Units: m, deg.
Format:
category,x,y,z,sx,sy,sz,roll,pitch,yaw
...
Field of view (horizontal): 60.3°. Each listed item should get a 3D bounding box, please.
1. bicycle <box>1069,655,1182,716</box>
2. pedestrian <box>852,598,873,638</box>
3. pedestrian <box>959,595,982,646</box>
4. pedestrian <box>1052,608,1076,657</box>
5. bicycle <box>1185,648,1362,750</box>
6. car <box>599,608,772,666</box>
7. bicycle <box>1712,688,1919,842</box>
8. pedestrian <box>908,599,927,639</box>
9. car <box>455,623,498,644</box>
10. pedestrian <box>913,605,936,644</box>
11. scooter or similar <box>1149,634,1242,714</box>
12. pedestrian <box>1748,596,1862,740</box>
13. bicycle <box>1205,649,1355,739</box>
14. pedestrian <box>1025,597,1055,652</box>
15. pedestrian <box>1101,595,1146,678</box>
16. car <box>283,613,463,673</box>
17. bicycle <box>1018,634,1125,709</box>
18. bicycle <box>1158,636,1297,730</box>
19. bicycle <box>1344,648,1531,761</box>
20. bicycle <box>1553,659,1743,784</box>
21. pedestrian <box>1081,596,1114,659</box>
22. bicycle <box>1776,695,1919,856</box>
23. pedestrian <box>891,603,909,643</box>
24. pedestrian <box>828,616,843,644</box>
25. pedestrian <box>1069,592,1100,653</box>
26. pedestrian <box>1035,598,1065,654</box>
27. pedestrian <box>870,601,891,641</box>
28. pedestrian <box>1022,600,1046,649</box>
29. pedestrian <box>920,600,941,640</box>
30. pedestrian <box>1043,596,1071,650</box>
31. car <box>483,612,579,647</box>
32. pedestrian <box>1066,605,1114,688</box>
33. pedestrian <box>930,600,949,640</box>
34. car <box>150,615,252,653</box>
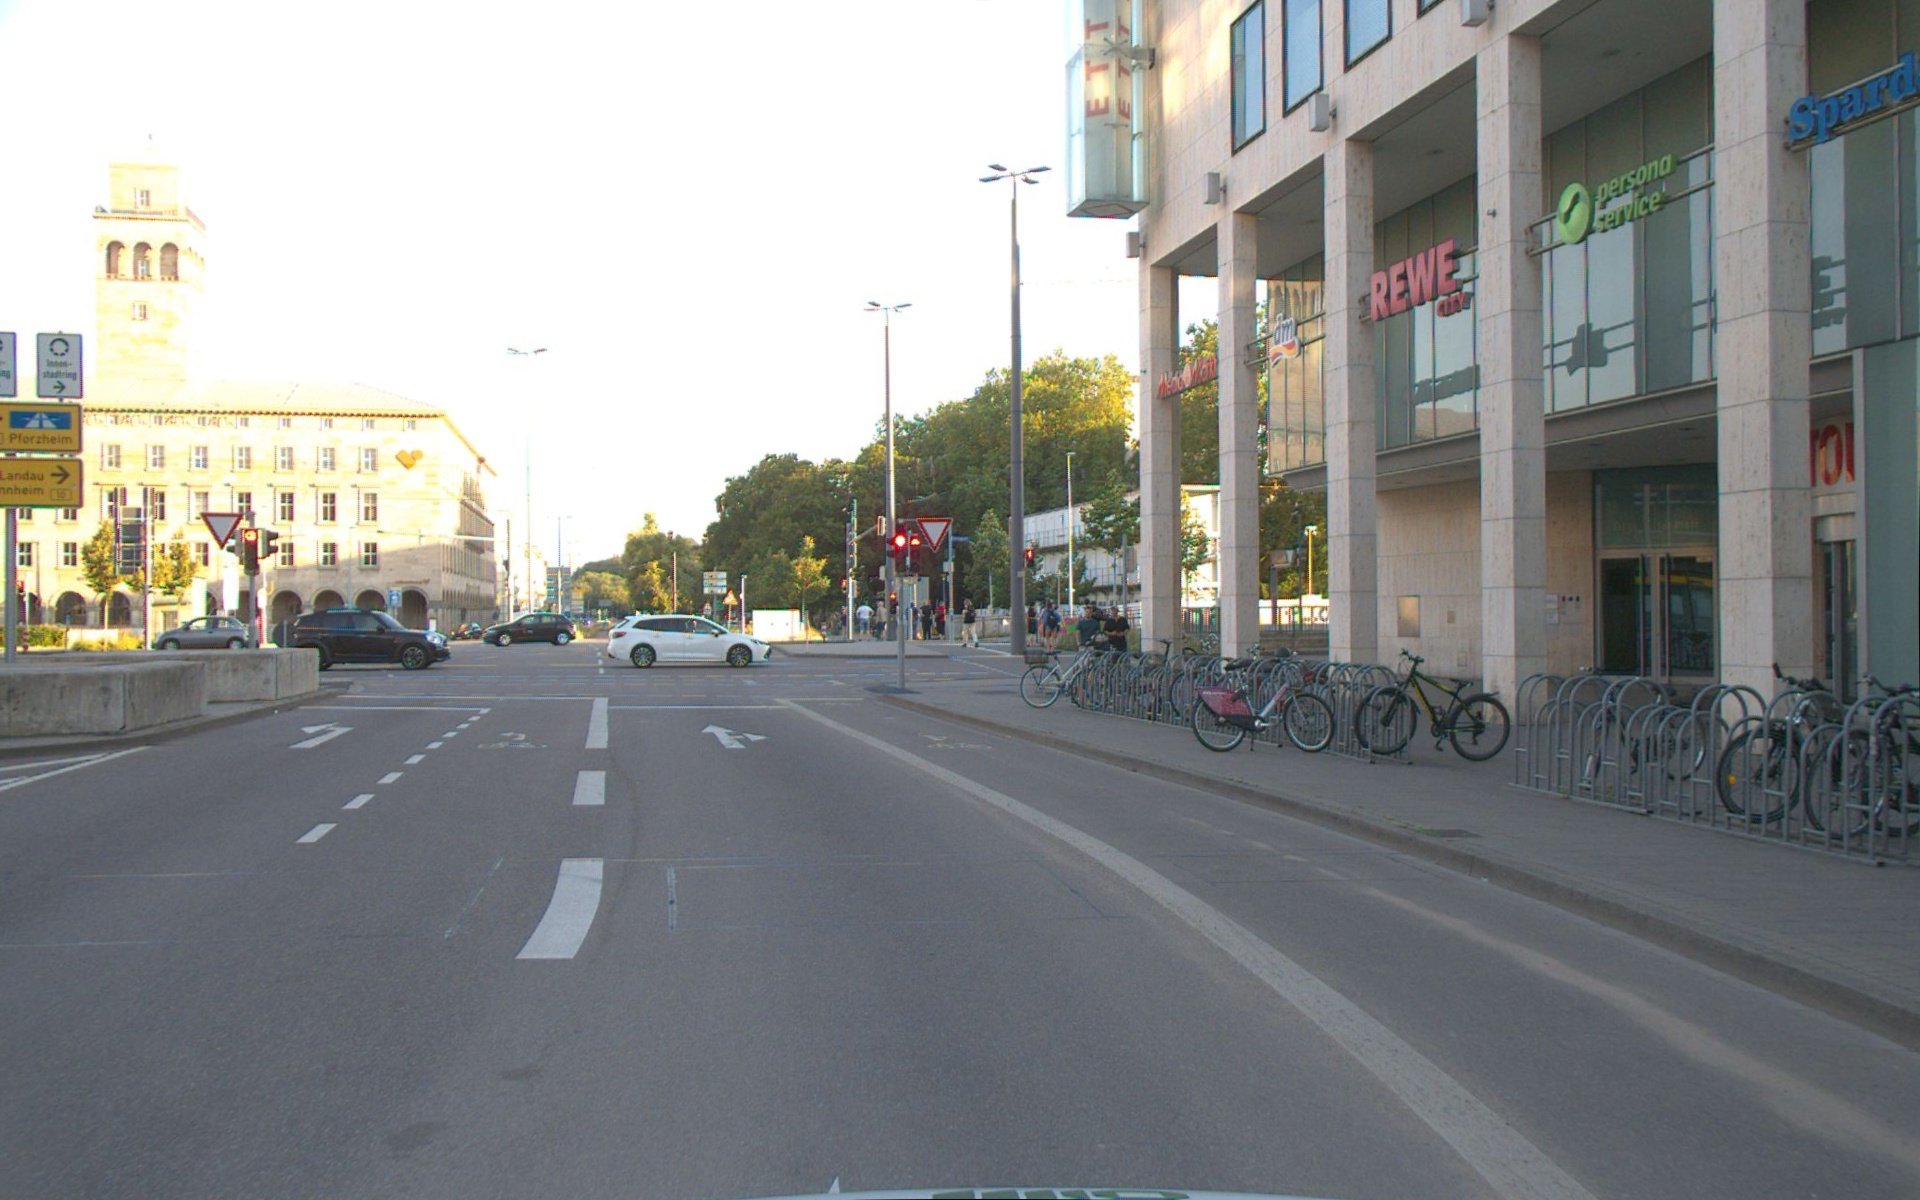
category,x,y,z,sx,sy,sz,roll,pitch,yaw
bicycle,2.807,1.438,28.014,1.835,0.953,0.514,-1,-1,-14
pedestrian,-4.267,0.783,72.234,0.794,1.760,0.685,-1,-1,-14
pedestrian,0.358,0.714,57.657,0.679,1.760,0.739,-1,-1,-10
pedestrian,3.782,1.165,60.104,0.818,1.760,0.688,-1,-1,1
bicycle,3.510,1.098,18.547,1.862,1.066,0.569,-1,-1,-8
car,-7.798,1.028,46.876,4.714,1.522,2.121,-1,0,-13
bicycle,6.099,1.114,11.407,1.709,0.953,0.514,-1,-1,-14
pedestrian,-1.868,0.821,73.026,0.791,1.760,0.688,-1,-1,0
car,-41.935,2.905,143.503,1.951,1.691,4.003,-1,0,12
pedestrian,-1.587,1.112,74.536,0.797,1.760,0.683,-1,-1,45
scooter or similar,3.595,1.122,25.280,1.254,1.180,0.671,0,-1,-14
pedestrian,11.060,0.869,21.662,0.846,1.808,0.987,-2,0,-13
bicycle,4.210,1.235,21.784,1.837,1.133,0.569,1,-1,-9
pedestrian,2.566,0.791,53.397,0.875,1.760,0.687,-1,-1,-4
pedestrian,3.710,0.820,37.574,0.743,1.807,0.738,-3,0,-12
car,-15.893,1.140,45.012,4.383,1.522,2.121,-1,0,-13
bicycle,1.895,1.210,28.209,1.779,1.234,0.571,-1,-1,3
bicycle,3.801,1.176,23.510,1.835,1.282,0.671,1,-1,-14
bicycle,5.035,1.095,17.471,1.781,1.119,0.600,2,-1,-5
bicycle,6.268,1.080,15.055,1.680,1.041,0.596,-1,-1,-24
pedestrian,4.114,0.827,49.408,0.875,1.863,0.687,-1,-1,-4
bicycle,6.270,1.116,10.795,1.777,0.953,0.514,-1,-1,-14
pedestrian,-2.670,1.003,73.653,0.791,1.760,0.688,-1,-1,0
pedestrian,-8.034,1.932,106.454,0.794,1.760,0.925,-1,-1,-14
pedestrian,3.901,0.702,51.911,0.874,1.872,0.688,-1,-1,-1
pedestrian,2.816,0.813,51.920,0.874,1.760,0.688,-1,-1,0
pedestrian,-3.505,0.912,72.538,0.794,1.760,0.685,-1,-1,-14
pedestrian,2.682,0.871,60.034,0.818,1.760,0.688,-1,-1,3
pedestrian,-1.305,0.868,73.105,0.794,1.760,0.685,-1,-1,-13
pedestrian,3.191,0.769,54.532,0.874,1.760,0.688,-1,-1,5
car,-19.125,1.286,73.744,3.930,1.478,1.531,-1,0,-28
pedestrian,2.936,1.048,37.393,0.845,1.807,0.738,-3,0,-12
pedestrian,-0.912,0.896,73.788,0.792,1.760,0.687,-1,-1,-6
car,-31.280,1.388,68.257,3.657,1.478,1.537,-1,0,-19
